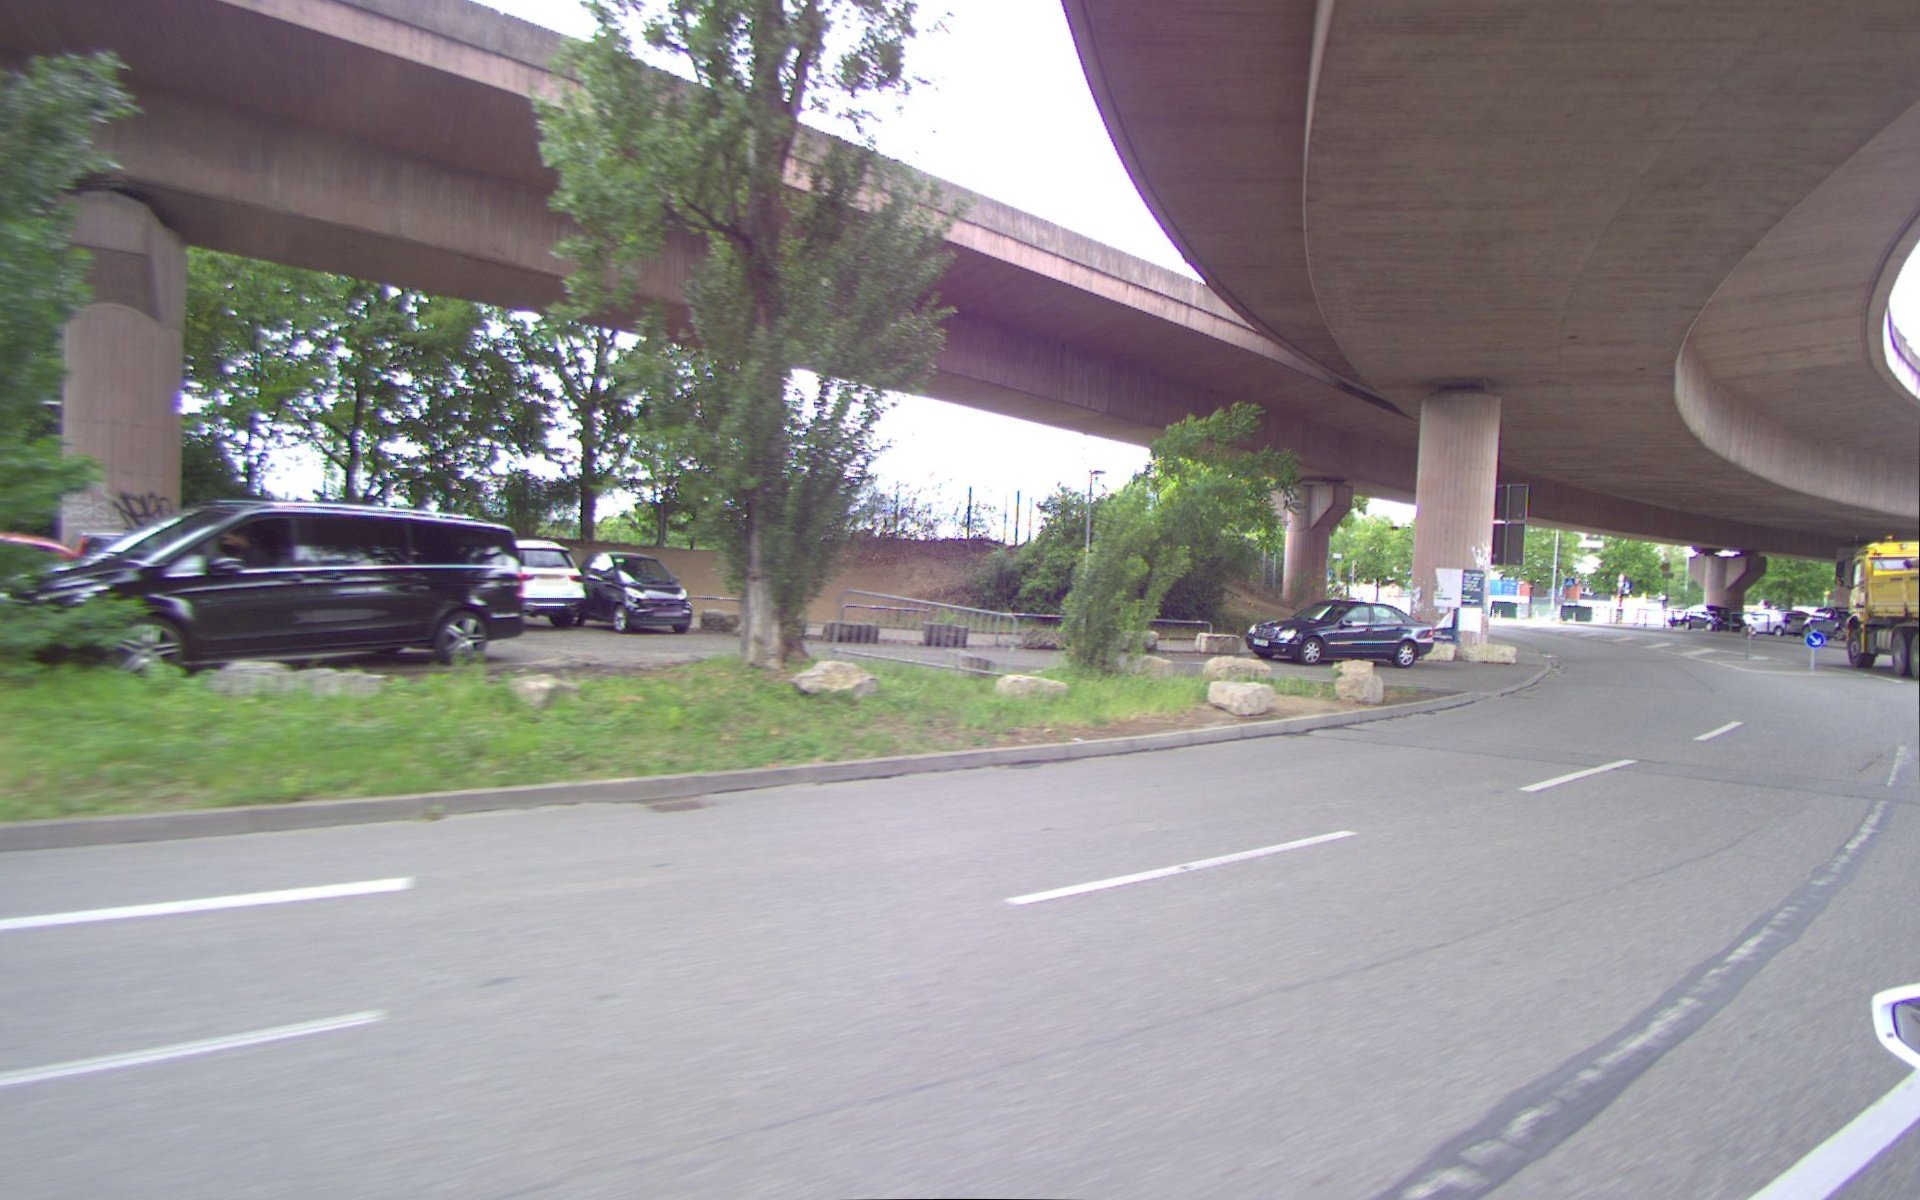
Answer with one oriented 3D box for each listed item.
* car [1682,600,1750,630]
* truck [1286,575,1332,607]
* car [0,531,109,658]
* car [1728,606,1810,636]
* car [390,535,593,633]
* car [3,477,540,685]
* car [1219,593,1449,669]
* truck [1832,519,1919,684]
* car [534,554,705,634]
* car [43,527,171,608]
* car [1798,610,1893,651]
[{"bbox_3d":[41.279,0.788,54.933,1.579,1.416,3.581,4,2,13],"label":"car"},{"bbox_3d":[40.351,-0.956,116.442,2.629,3.606,7.924,0,0,0],"label":"truck"},{"bbox_3d":[-11.623,-0.109,10.613,1.536,1.398,3.699,3,1,28],"label":"car"},{"bbox_3d":[48.849,1.247,60.748,1.607,1.573,4.011,2,1,0],"label":"car"},{"bbox_3d":[-9.371,-0.345,20.030,3.992,1.730,1.732,3,1,32],"label":"car"},{"bbox_3d":[-7.751,-0.181,11.984,1.823,1.943,4.966,3,1,28],"label":"car"},{"bbox_3d":[8.496,0.692,22.883,4.697,1.450,1.821,2,3,-17],"label":"car"},{"bbox_3d":[24.824,0.039,25.376,2.718,3.748,7.865,0,0,30],"label":"truck"},{"bbox_3d":[-7.123,-0.150,20.867,3.809,1.484,1.532,3,1,39],"label":"car"},{"bbox_3d":[-16.442,-0.628,19.320,3.373,1.407,1.368,3,1,41],"label":"car"},{"bbox_3d":[38.824,1.294,44.137,1.579,1.554,3.411,4,2,13],"label":"car"}]
